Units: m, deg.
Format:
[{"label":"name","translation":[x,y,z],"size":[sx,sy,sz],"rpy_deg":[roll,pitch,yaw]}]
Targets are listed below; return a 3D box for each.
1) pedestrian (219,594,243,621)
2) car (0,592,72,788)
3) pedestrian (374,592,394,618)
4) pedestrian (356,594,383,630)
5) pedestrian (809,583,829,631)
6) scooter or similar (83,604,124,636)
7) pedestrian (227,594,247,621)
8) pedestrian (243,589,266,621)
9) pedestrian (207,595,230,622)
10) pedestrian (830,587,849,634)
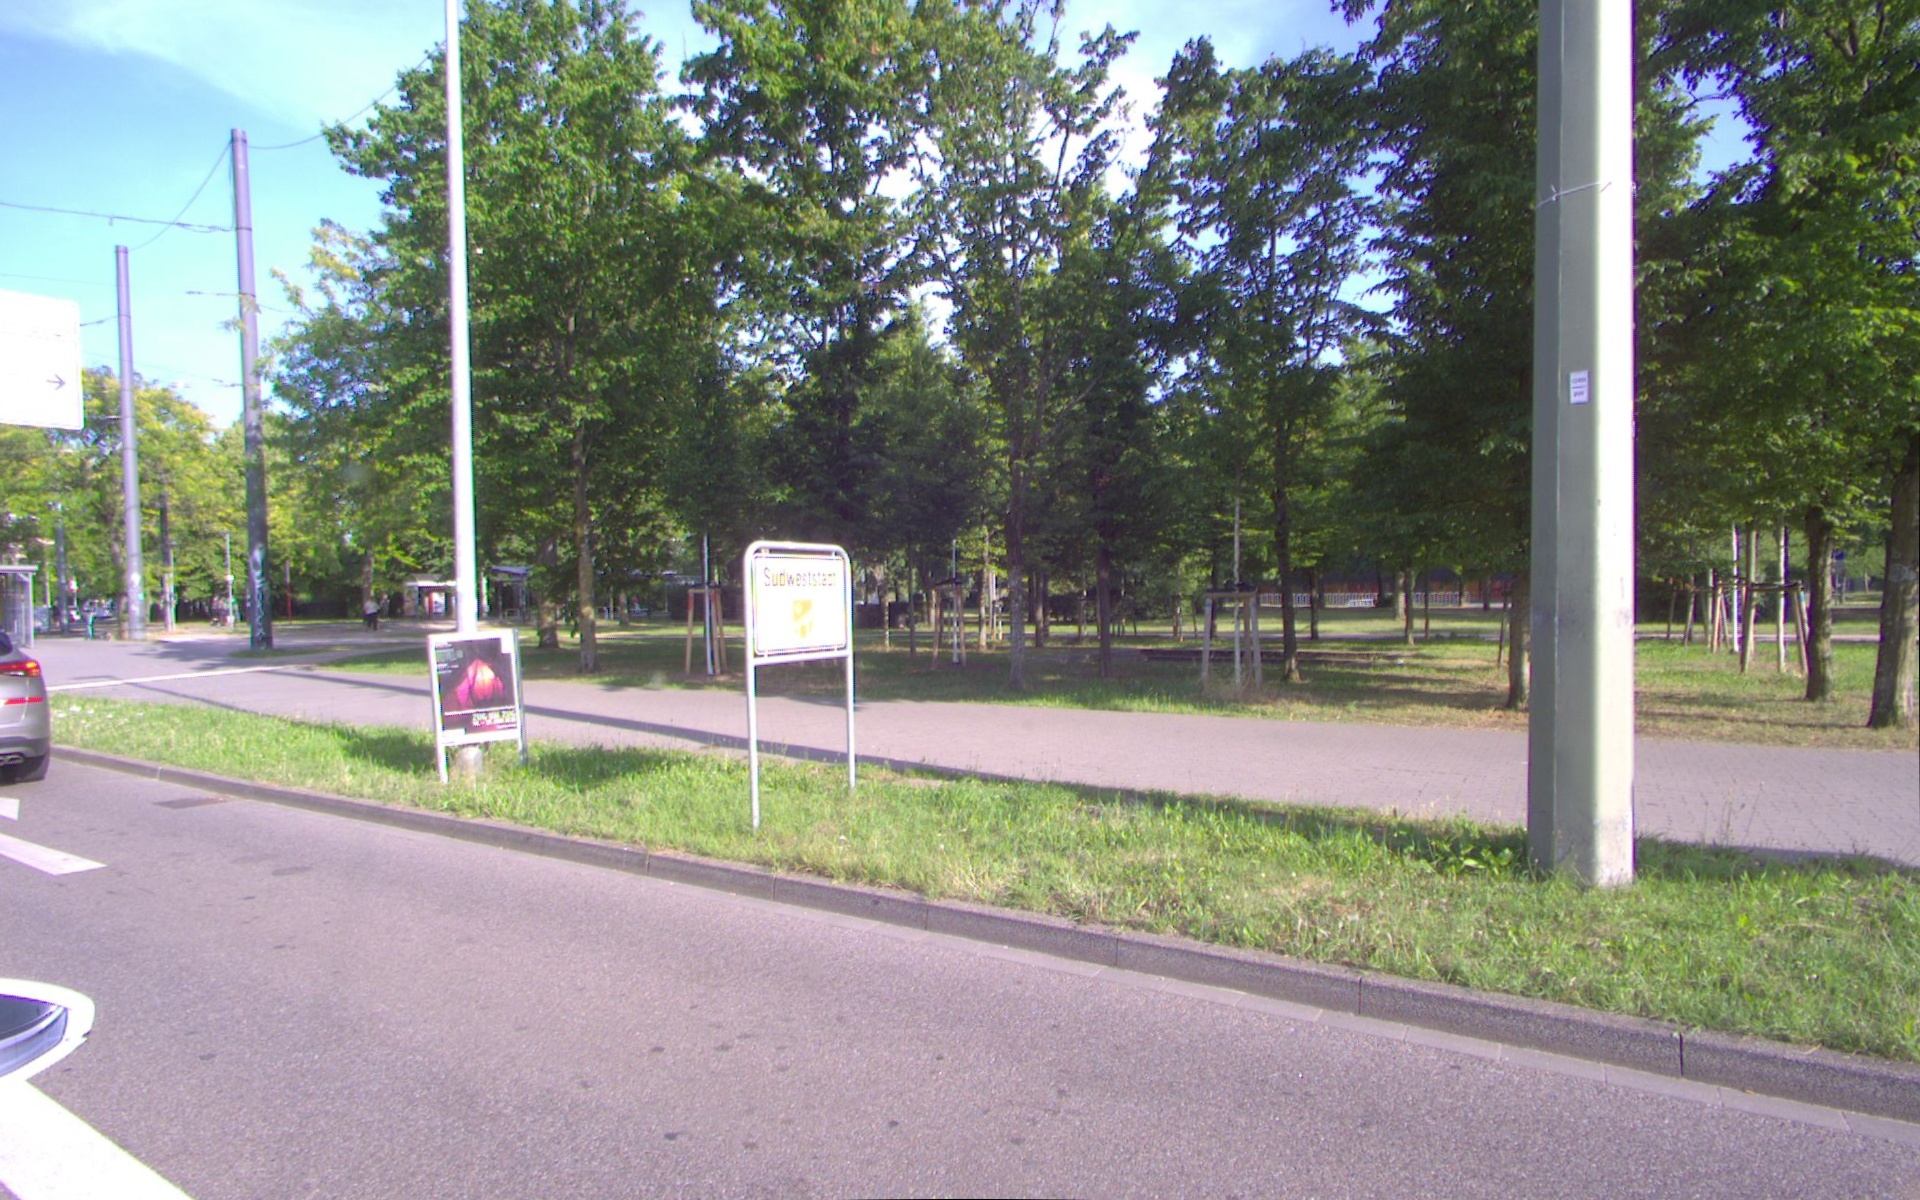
[{"label":"pedestrian","translation":[-41.098,0.423,56.450],"size":[0.688,1.508,0.813],"rpy_deg":[0,1,22]},{"label":"car","translation":[-9.979,0.800,9.130],"size":[3.595,1.673,1.880],"rpy_deg":[-1,1,32]},{"label":"pedestrian","translation":[-36.814,0.314,64.013],"size":[0.792,1.659,0.832],"rpy_deg":[0,1,38]},{"label":"pedestrian","translation":[-27.724,0.540,47.027],"size":[0.793,1.659,0.754],"rpy_deg":[-1,1,-7]},{"label":"pedestrian","translation":[-5.431,0.272,38.594],"size":[0.617,1.836,0.502],"rpy_deg":[-1,1,6]},{"label":"scooter or similar","translation":[-31.441,0.730,36.751],"size":[1.305,1.132,0.420],"rpy_deg":[-1,1,13]},{"label":"pedestrian","translation":[-39.994,0.413,55.405],"size":[0.804,1.508,0.696],"rpy_deg":[-2,1,-33]},{"label":"pedestrian","translation":[-40.255,0.300,57.136],"size":[0.826,1.809,0.798],"rpy_deg":[0,1,28]},{"label":"pedestrian","translation":[-41.034,0.467,55.422],"size":[0.687,1.508,0.815],"rpy_deg":[-1,1,-9]},{"label":"pedestrian","translation":[-4.761,0.406,39.508],"size":[0.617,1.836,0.502],"rpy_deg":[-1,1,3]}]
